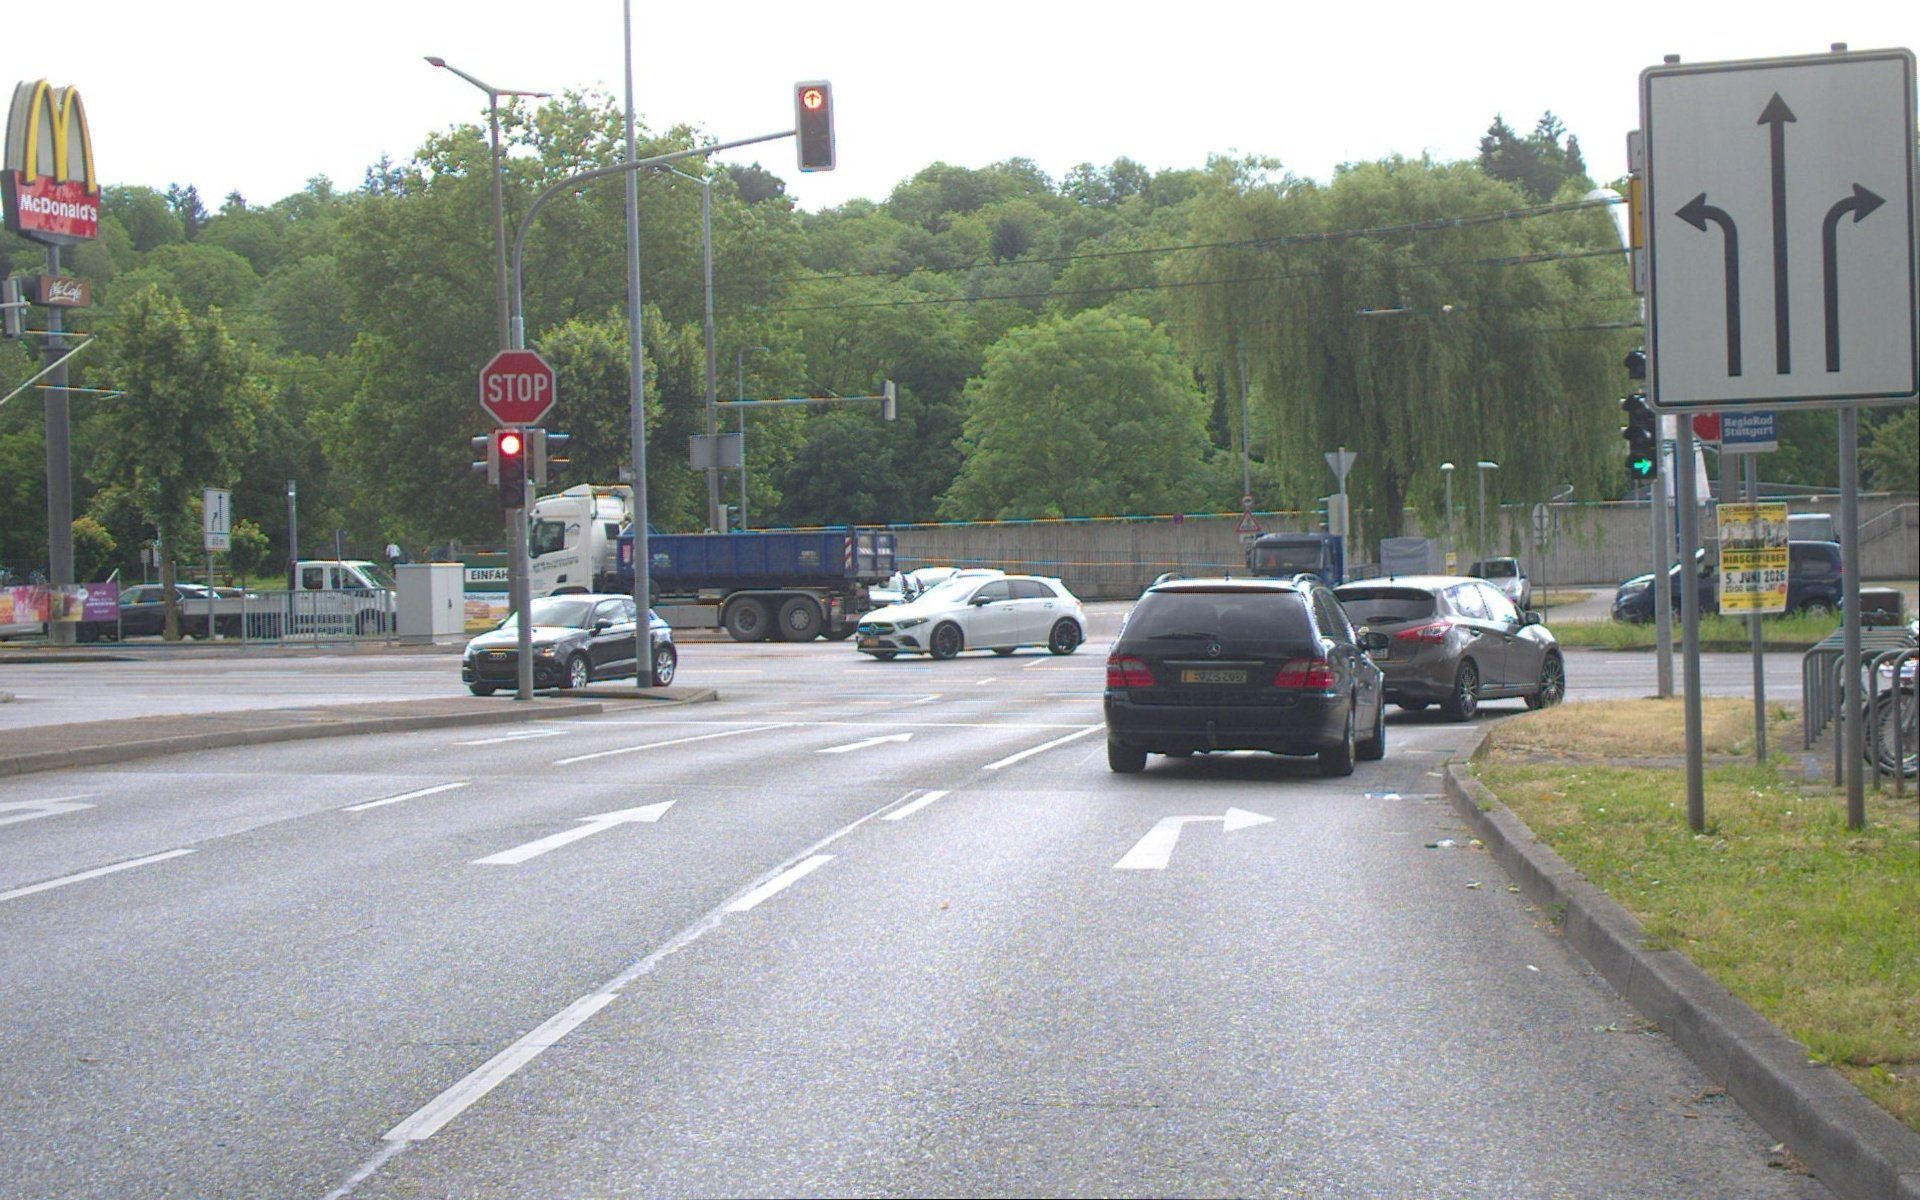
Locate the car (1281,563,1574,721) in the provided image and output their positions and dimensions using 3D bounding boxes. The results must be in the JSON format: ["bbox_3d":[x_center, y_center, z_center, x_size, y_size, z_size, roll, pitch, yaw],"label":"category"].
[{"bbox_3d":[5.073,0.422,36.861,1.729,1.525,4.142,-1,1,28],"label":"car"}]

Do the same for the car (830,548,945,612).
[{"bbox_3d":[-1.935,-0.567,93.498,1.995,1.634,3.997,-1,1,16],"label":"car"}]

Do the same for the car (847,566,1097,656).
[{"bbox_3d":[0.240,0.180,59.548,4.280,1.401,1.605,-2,1,-40],"label":"car"}]

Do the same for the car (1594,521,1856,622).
[{"bbox_3d":[14.494,-0.544,65.261,4.543,1.768,1.607,-2,1,-2],"label":"car"}]

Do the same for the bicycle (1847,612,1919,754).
[{"bbox_3d":[7.958,0.651,27.166,1.779,1.107,0.553,0,0,9],"label":"bicycle"}]

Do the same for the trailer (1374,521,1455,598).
[{"bbox_3d":[13.474,-1.182,101.752,1.994,2.176,3.998,-2,0,12],"label":"trailer"}]

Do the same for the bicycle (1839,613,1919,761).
[{"bbox_3d":[7.601,0.657,26.014,1.779,1.107,0.540,-1,-2,9],"label":"bicycle"}]

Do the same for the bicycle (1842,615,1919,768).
[{"bbox_3d":[7.443,0.660,25.308,1.779,1.107,0.580,-1,0,9],"label":"bicycle"}]

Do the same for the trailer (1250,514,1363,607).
[{"bbox_3d":[10.143,-1.131,100.304,2.354,2.573,4.916,-2,0,16],"label":"trailer"}]

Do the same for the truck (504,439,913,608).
[{"bbox_3d":[-5.992,-1.765,81.763,9.109,3.575,3.216,-2,0,22],"label":"truck"}]

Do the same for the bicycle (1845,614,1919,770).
[{"bbox_3d":[7.266,0.652,24.609,1.779,1.107,0.455,-1,0,14],"label":"bicycle"}]

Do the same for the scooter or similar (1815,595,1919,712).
[{"bbox_3d":[9.292,0.538,34.850,1.182,1.165,0.294,-1,0,16],"label":"scooter or similar"}]

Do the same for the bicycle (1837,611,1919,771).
[{"bbox_3d":[7.049,0.621,23.886,1.781,1.107,0.425,-2,-1,27],"label":"bicycle"}]

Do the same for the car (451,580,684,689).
[{"bbox_3d":[-5.584,0.472,49.365,1.618,1.411,3.891,-1,1,22],"label":"car"}]

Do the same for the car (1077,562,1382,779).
[{"bbox_3d":[2.175,0.485,26.580,1.823,1.504,4.572,1,0,11],"label":"car"}]

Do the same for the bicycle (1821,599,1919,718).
[{"bbox_3d":[9.230,0.558,33.274,1.690,1.107,0.479,-1,2,9],"label":"bicycle"}]
